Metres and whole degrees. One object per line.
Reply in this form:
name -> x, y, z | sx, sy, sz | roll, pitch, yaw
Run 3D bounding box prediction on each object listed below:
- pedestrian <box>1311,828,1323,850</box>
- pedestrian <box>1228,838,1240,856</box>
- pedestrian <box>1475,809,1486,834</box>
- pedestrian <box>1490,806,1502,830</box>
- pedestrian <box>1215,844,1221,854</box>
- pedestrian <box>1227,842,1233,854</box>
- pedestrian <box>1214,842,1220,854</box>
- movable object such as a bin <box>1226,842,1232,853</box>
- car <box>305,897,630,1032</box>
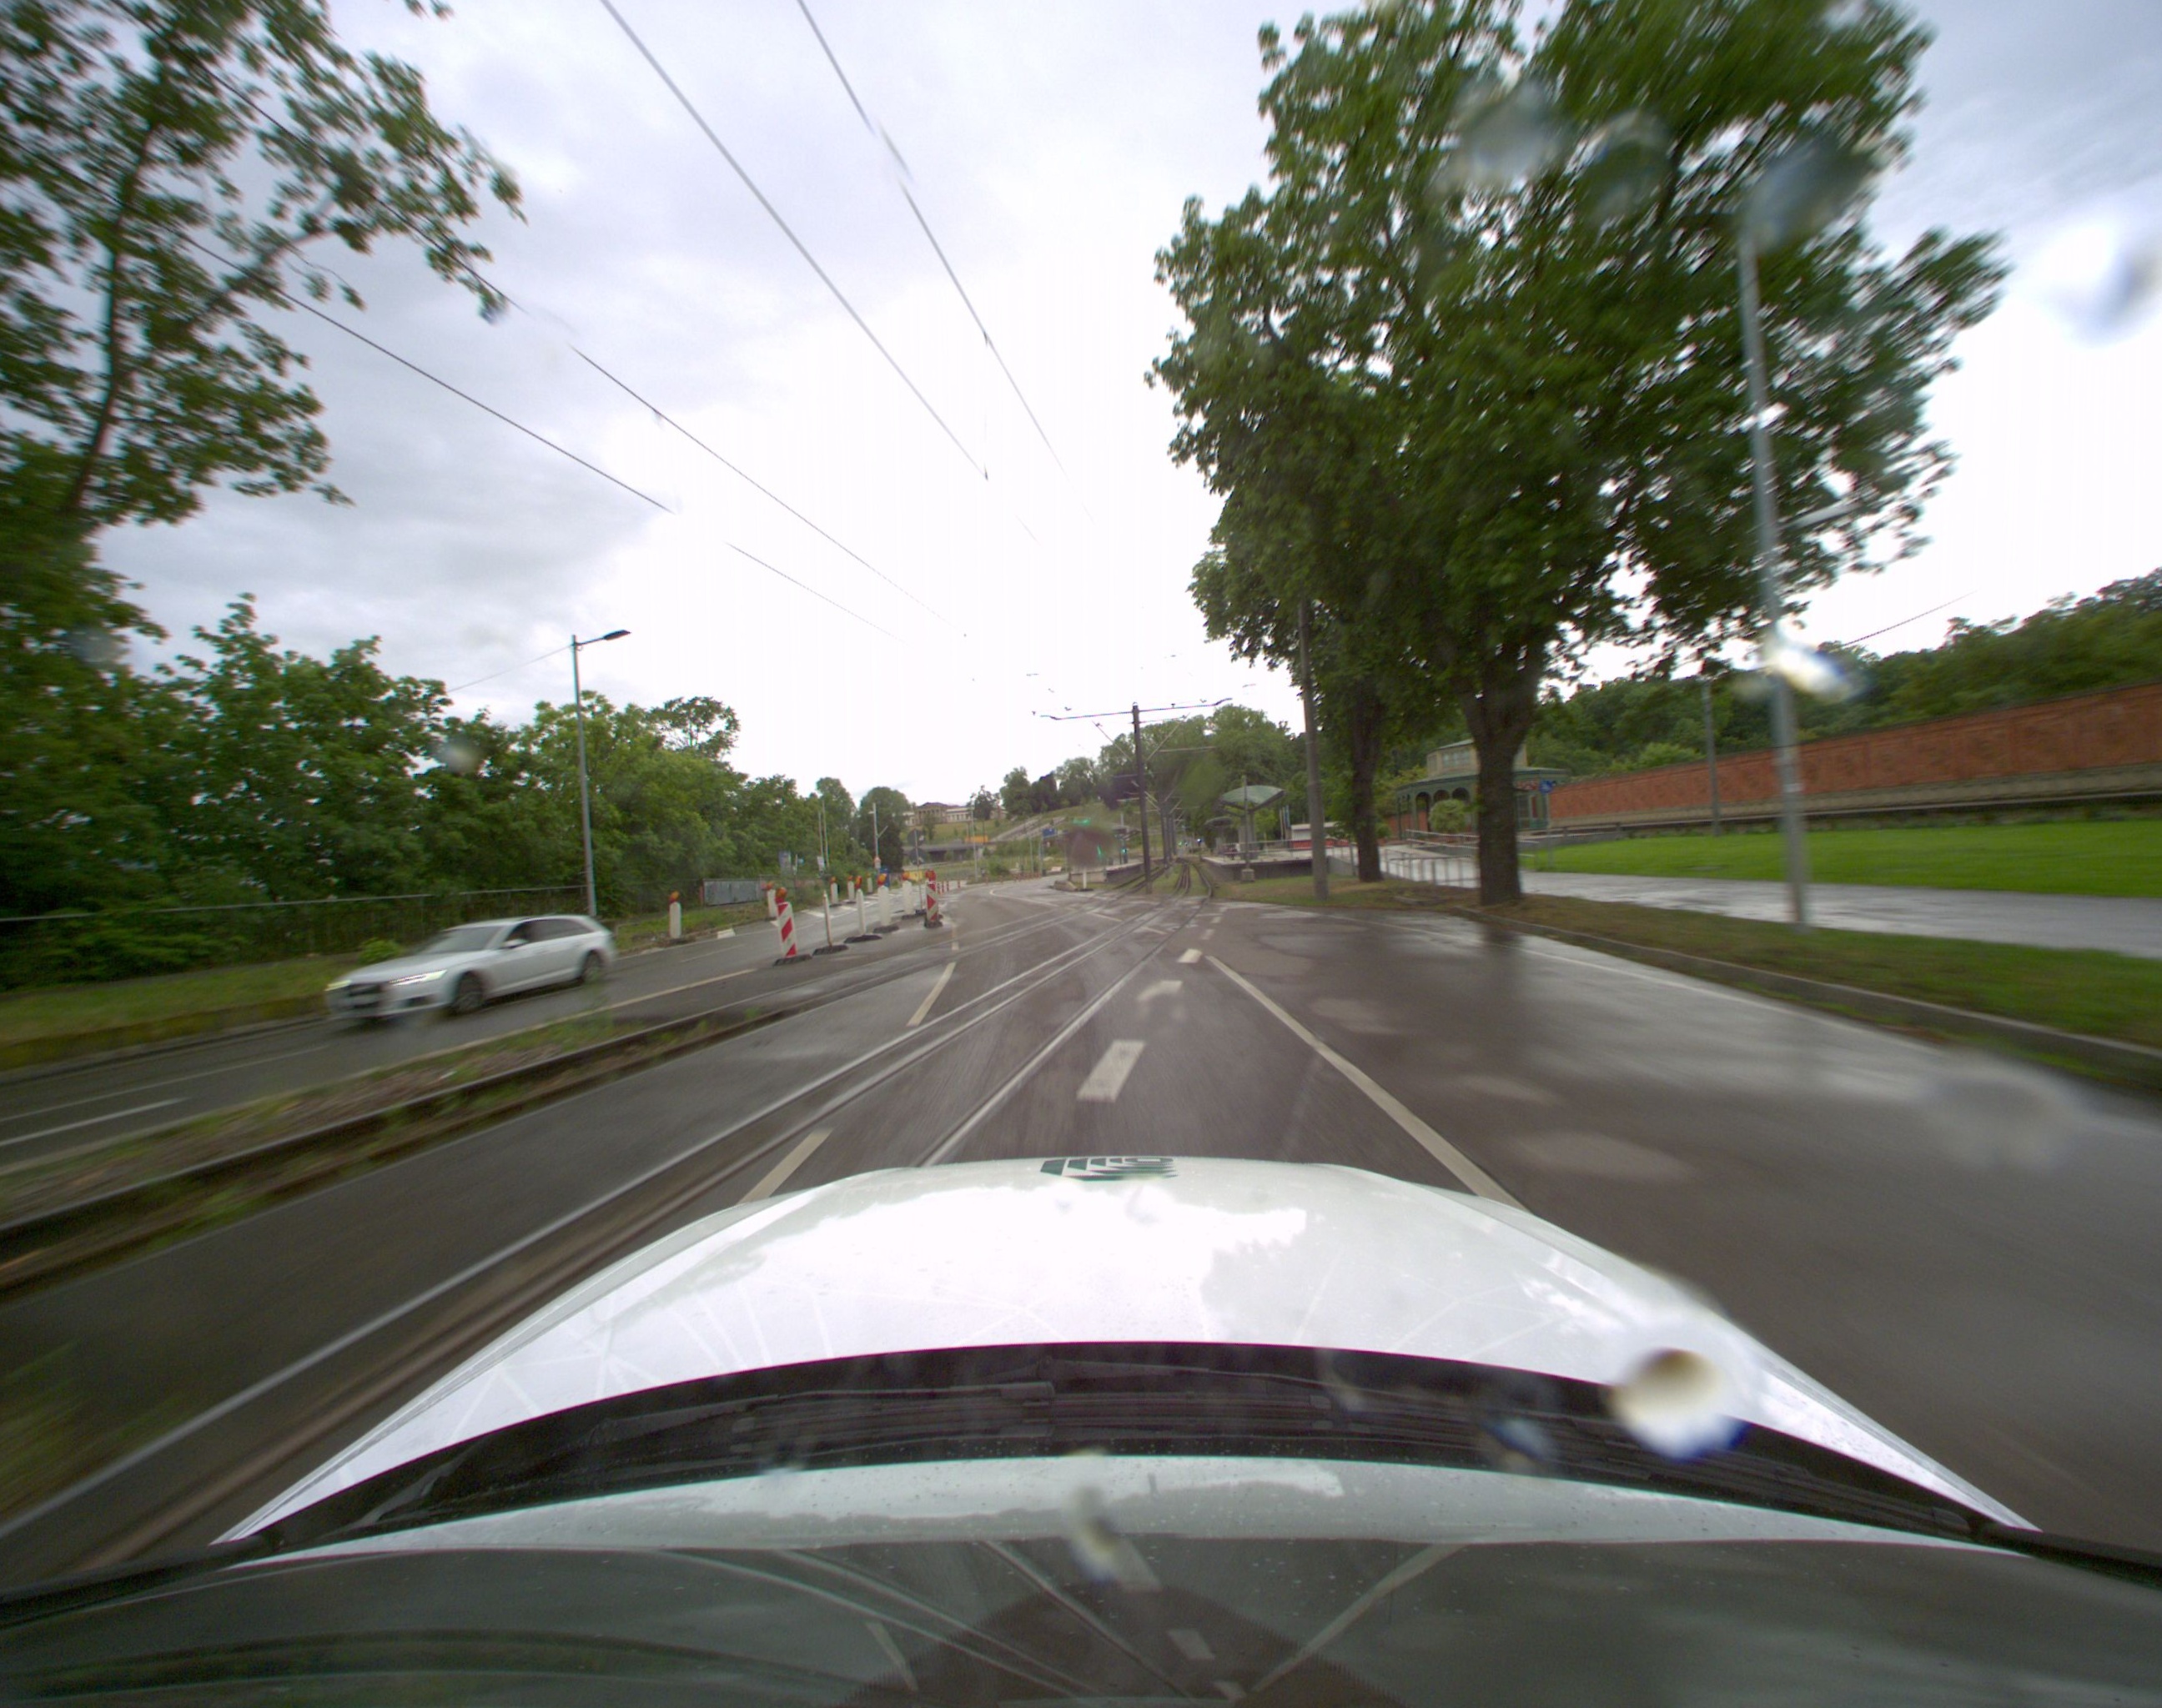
pedestrian -> 20.537, -1.325, 70.855 | 0.716, 1.790, 1.185 | -6, 0, 8
pedestrian -> 9.696, -0.424, 51.626 | 0.600, 1.119, 0.519 | 0, -1, -9
pedestrian -> 28.329, -2.291, 57.734 | 0.527, 1.711, 0.698 | -2, -2, 18
pedestrian -> 28.941, -2.499, 56.824 | 0.544, 1.657, 0.472 | -5, -1, 41
pedestrian -> 13.519, -0.497, 80.410 | 0.434, 1.008, 0.552 | -6, -1, 8
pedestrian -> 14.828, -0.603, 81.259 | 0.434, 1.226, 0.552 | -6, -1, 8
pedestrian -> 13.514, -0.602, 81.072 | 0.434, 1.226, 0.552 | -6, -1, 8
movable object such as a bin -> 14.536, -0.625, 80.121 | 0.434, 1.008, 0.683 | -6, 0, 8
car -> -10.292, 1.746, 14.260 | 1.701, 1.498, 4.726 | -6, 0, 4
